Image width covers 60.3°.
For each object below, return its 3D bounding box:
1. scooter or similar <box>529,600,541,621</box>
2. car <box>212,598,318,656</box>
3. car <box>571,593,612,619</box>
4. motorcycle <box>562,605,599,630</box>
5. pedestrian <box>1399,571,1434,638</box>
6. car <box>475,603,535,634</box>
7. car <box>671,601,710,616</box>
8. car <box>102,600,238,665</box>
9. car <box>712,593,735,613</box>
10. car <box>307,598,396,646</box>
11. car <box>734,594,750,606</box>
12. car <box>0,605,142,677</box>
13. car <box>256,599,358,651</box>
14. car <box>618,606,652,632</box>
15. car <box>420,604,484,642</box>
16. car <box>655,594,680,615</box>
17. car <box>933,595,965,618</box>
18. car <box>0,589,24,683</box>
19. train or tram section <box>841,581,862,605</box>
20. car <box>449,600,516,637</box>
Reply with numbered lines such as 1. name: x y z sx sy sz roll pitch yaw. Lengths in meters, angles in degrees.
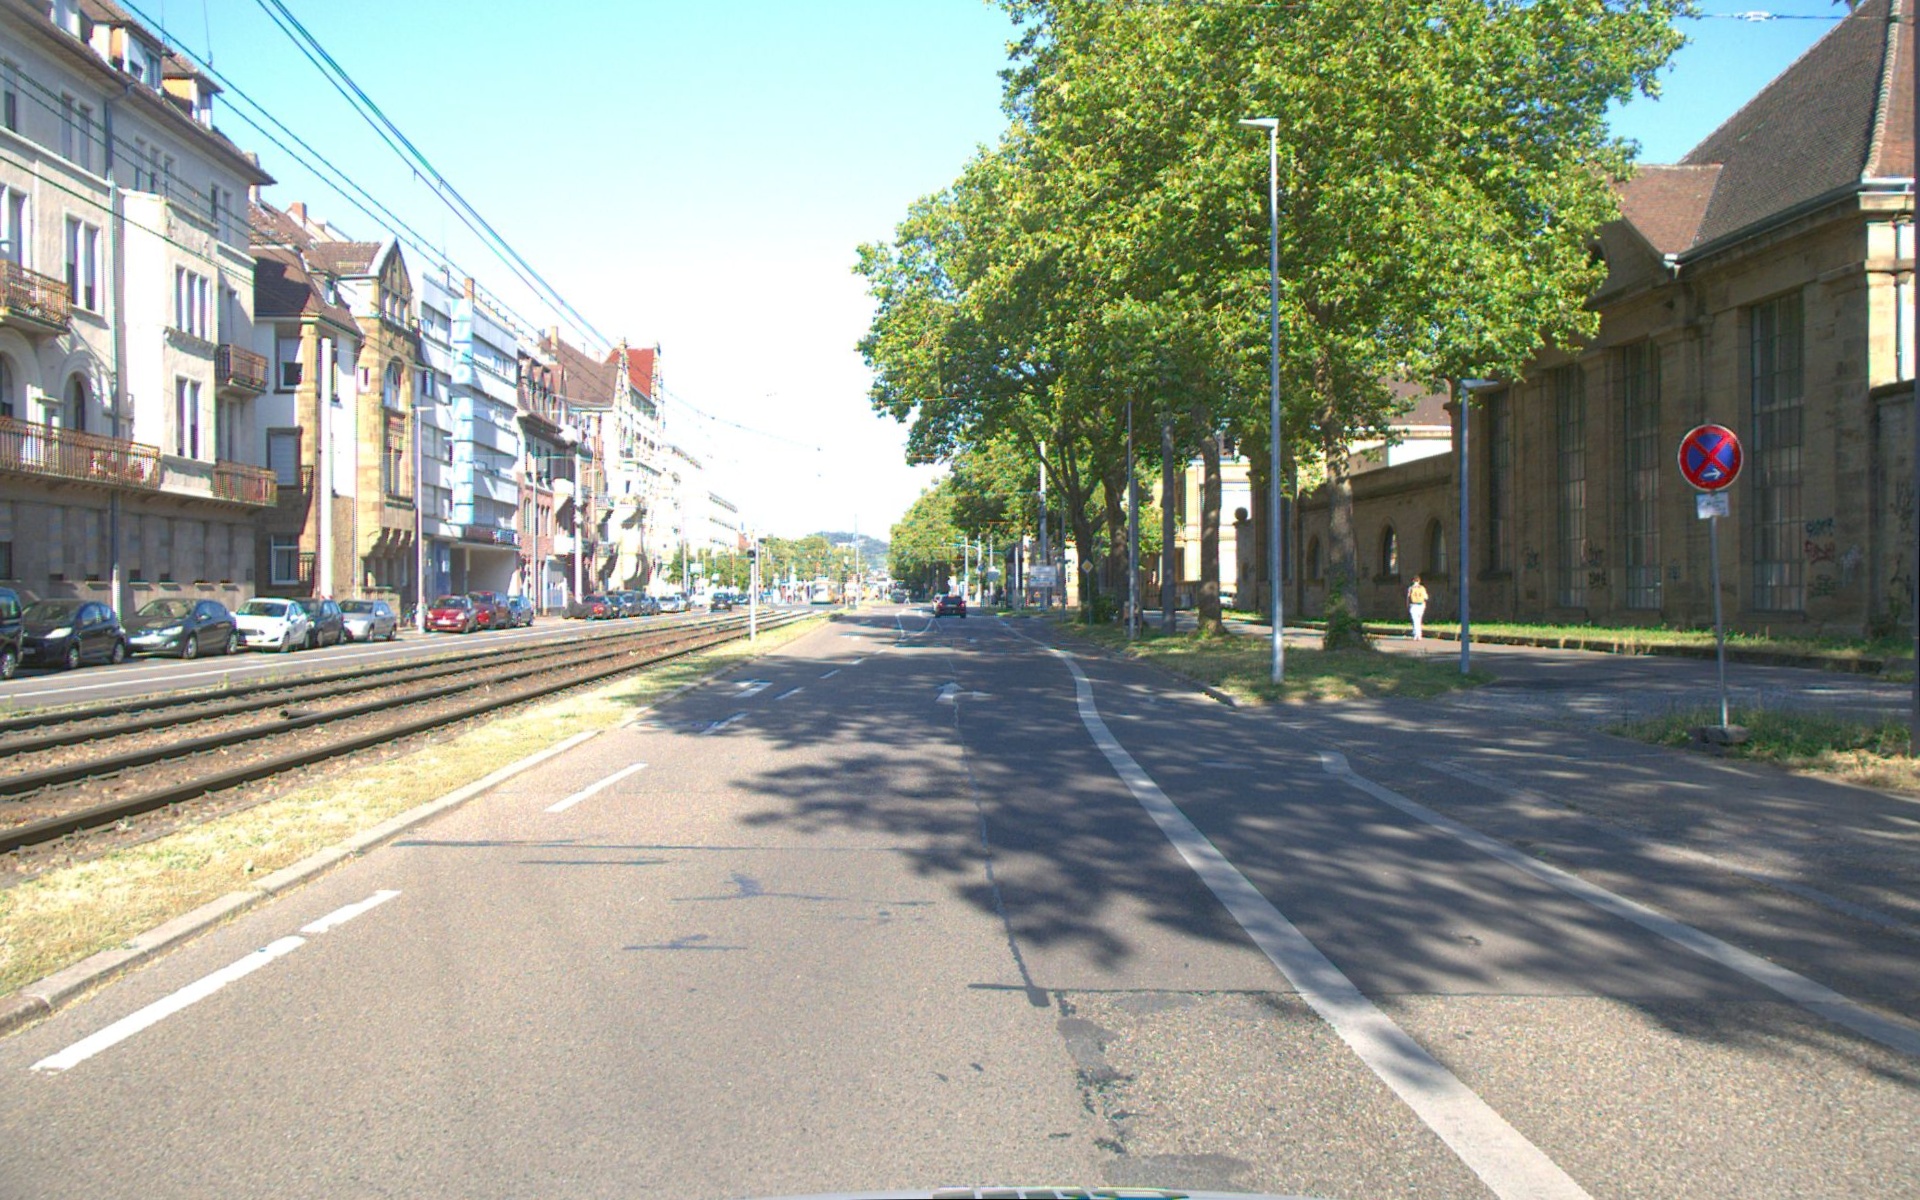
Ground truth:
1. scooter or similar: -25.071 0.605 97.637 0.383 1.226 1.200 2 0 -2
2. car: -19.729 0.766 47.116 1.604 1.494 3.978 3 -1 -6
3. car: -22.758 0.353 102.304 1.759 1.485 4.263 3 0 -3
4. motorcycle: -22.641 1.034 98.628 2.036 1.350 0.836 3 0 -18
5. pedestrian: 12.033 0.111 43.597 0.596 1.711 0.635 -4 0 -5
6. car: -21.755 0.865 79.319 1.797 1.415 4.679 0 0 -3
7. car: -30.732 0.981 188.712 3.902 1.537 1.801 1 -1 13
8. car: -20.096 0.782 42.259 1.603 1.494 4.156 3 0 -3
9. car: -19.793 0.254 138.729 1.603 1.629 4.155 -2 0 -4
10. car: -20.710 0.731 56.420 1.602 1.494 4.157 1 1 -2
11. car: -27.939 -0.040 212.187 1.759 1.537 3.996 -1 0 -5
12. car: -19.902 0.885 36.961 1.595 1.415 3.506 3 0 -4
13. car: -20.187 0.742 51.288 1.602 1.494 4.156 2 0 -3
14. car: -23.078 1.337 117.489 1.653 1.681 4.197 3 0 -3
15. car: -21.050 0.936 68.727 1.798 1.415 4.029 3 0 -7
16. car: -23.927 0.363 135.473 1.760 1.536 3.994 3 0 -7
17. car: -0.714 0.401 103.008 1.797 1.415 4.156 0 0 -3
18. car: -19.494 0.699 30.753 1.825 1.817 4.399 1 1 -3
19. train or tram section: -16.676 -1.108 255.292 2.768 3.511 9.061 -1 0 -1
20. car: -21.340 0.792 74.011 1.796 1.585 4.351 1 0 -1
